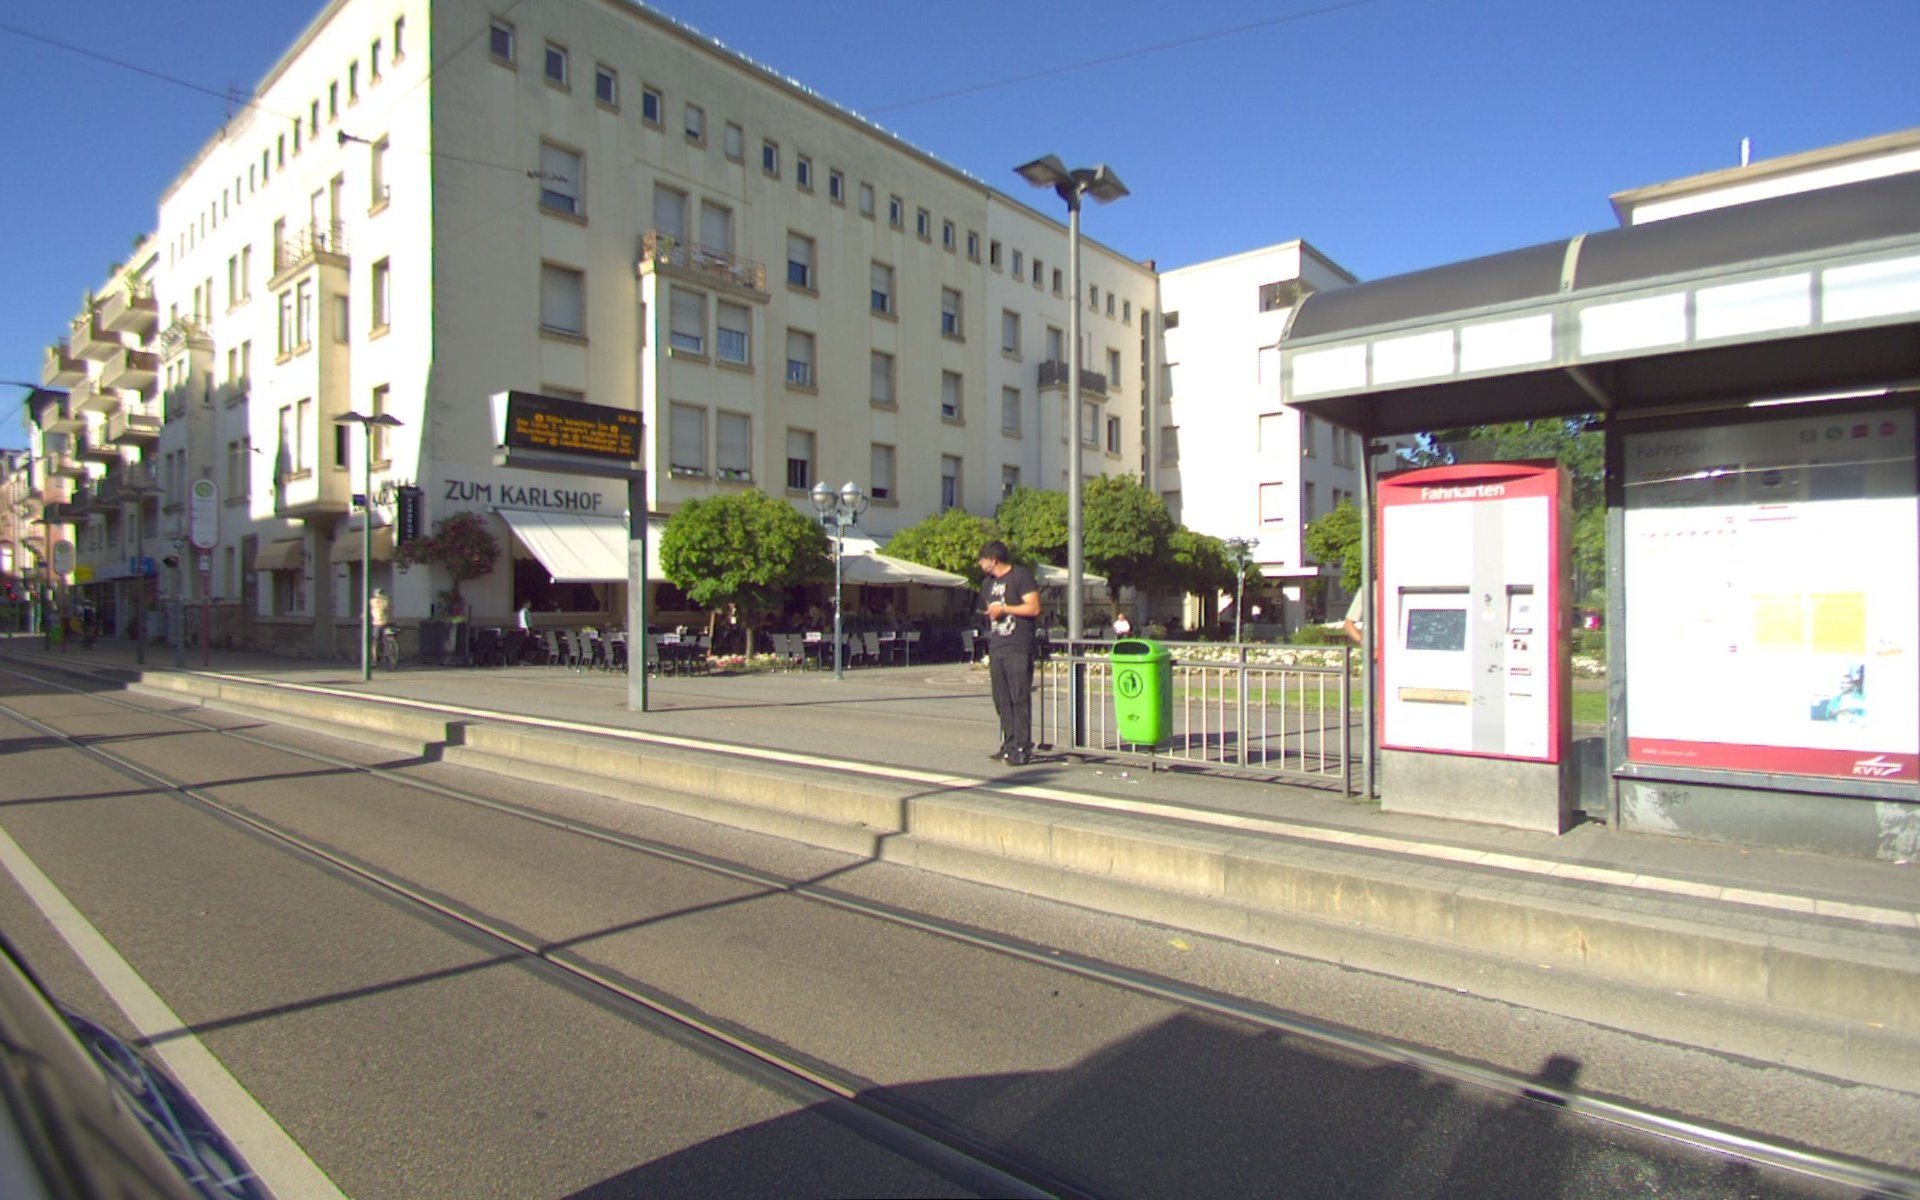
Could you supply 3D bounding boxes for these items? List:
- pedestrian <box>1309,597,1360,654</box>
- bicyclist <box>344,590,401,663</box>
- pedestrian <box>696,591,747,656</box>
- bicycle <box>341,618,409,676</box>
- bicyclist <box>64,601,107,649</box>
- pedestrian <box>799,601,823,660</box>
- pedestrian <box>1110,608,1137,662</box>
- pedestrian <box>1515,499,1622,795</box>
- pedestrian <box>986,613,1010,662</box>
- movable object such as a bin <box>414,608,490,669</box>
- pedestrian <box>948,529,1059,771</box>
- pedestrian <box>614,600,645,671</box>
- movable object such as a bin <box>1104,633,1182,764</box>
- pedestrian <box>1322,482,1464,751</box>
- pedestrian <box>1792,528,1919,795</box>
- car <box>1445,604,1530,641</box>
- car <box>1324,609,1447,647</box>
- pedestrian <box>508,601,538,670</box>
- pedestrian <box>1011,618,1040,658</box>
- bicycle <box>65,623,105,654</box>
[{"bbox_3d":[11.936,0.805,32.300,1.064,1.801,1.179,0,-1,-8],"label":"pedestrian"},{"bbox_3d":[-12.158,0.526,20.928,0.877,1.466,0.818,0,0,45],"label":"bicyclist"},{"bbox_3d":[-6.338,0.643,26.927,0.755,1.657,1.054,-4,-4,36],"label":"pedestrian"},{"bbox_3d":[-12.076,0.932,20.856,1.978,1.121,0.720,-1,0,45],"label":"bicycle"},{"bbox_3d":[-33.182,0.942,38.384,1.093,1.807,0.995,-1,-1,35],"label":"bicyclist"},{"bbox_3d":[-4.738,0.971,32.214,0.640,1.837,0.576,0,-1,5],"label":"pedestrian"},{"bbox_3d":[5.494,1.187,34.040,0.710,1.750,0.673,-2,-4,1],"label":"pedestrian"},{"bbox_3d":[4.053,0.305,6.748,0.526,1.873,0.423,-1,-4,44],"label":"pedestrian"},{"bbox_3d":[1.384,1.376,36.839,0.677,1.750,0.671,-3,-4,13],"label":"pedestrian"},{"bbox_3d":[-12.181,0.900,24.264,1.127,1.410,1.302,-1,-1,40],"label":"movable object such as a bin"},{"bbox_3d":[0.333,0.368,7.654,0.607,1.731,0.542,-1,-3,43],"label":"pedestrian"},{"bbox_3d":[-7.983,0.862,24.413,0.662,1.657,0.679,0,-4,-21],"label":"pedestrian"},{"bbox_3d":[1.273,0.670,7.046,0.416,0.866,0.332,-1,-1,44],"label":"movable object such as a bin"},{"bbox_3d":[3.087,0.127,7.211,0.769,1.788,0.608,-1,-4,43],"label":"pedestrian"},{"bbox_3d":[6.395,0.398,6.806,0.968,1.693,0.988,-1,-2,24],"label":"pedestrian"},{"bbox_3d":[21.999,0.923,42.234,2.932,1.497,1.399,-1,-1,41],"label":"car"},{"bbox_3d":[15.412,0.995,36.716,3.713,1.310,1.973,-1,-1,41],"label":"car"},{"bbox_3d":[-10.741,0.874,24.868,0.662,1.657,0.753,0,-4,-22],"label":"pedestrian"},{"bbox_3d":[2.112,1.227,32.585,0.672,1.280,0.636,-4,-4,36],"label":"pedestrian"},{"bbox_3d":[-33.174,1.459,38.358,2.032,1.134,0.705,-1,-1,36],"label":"bicycle"}]
